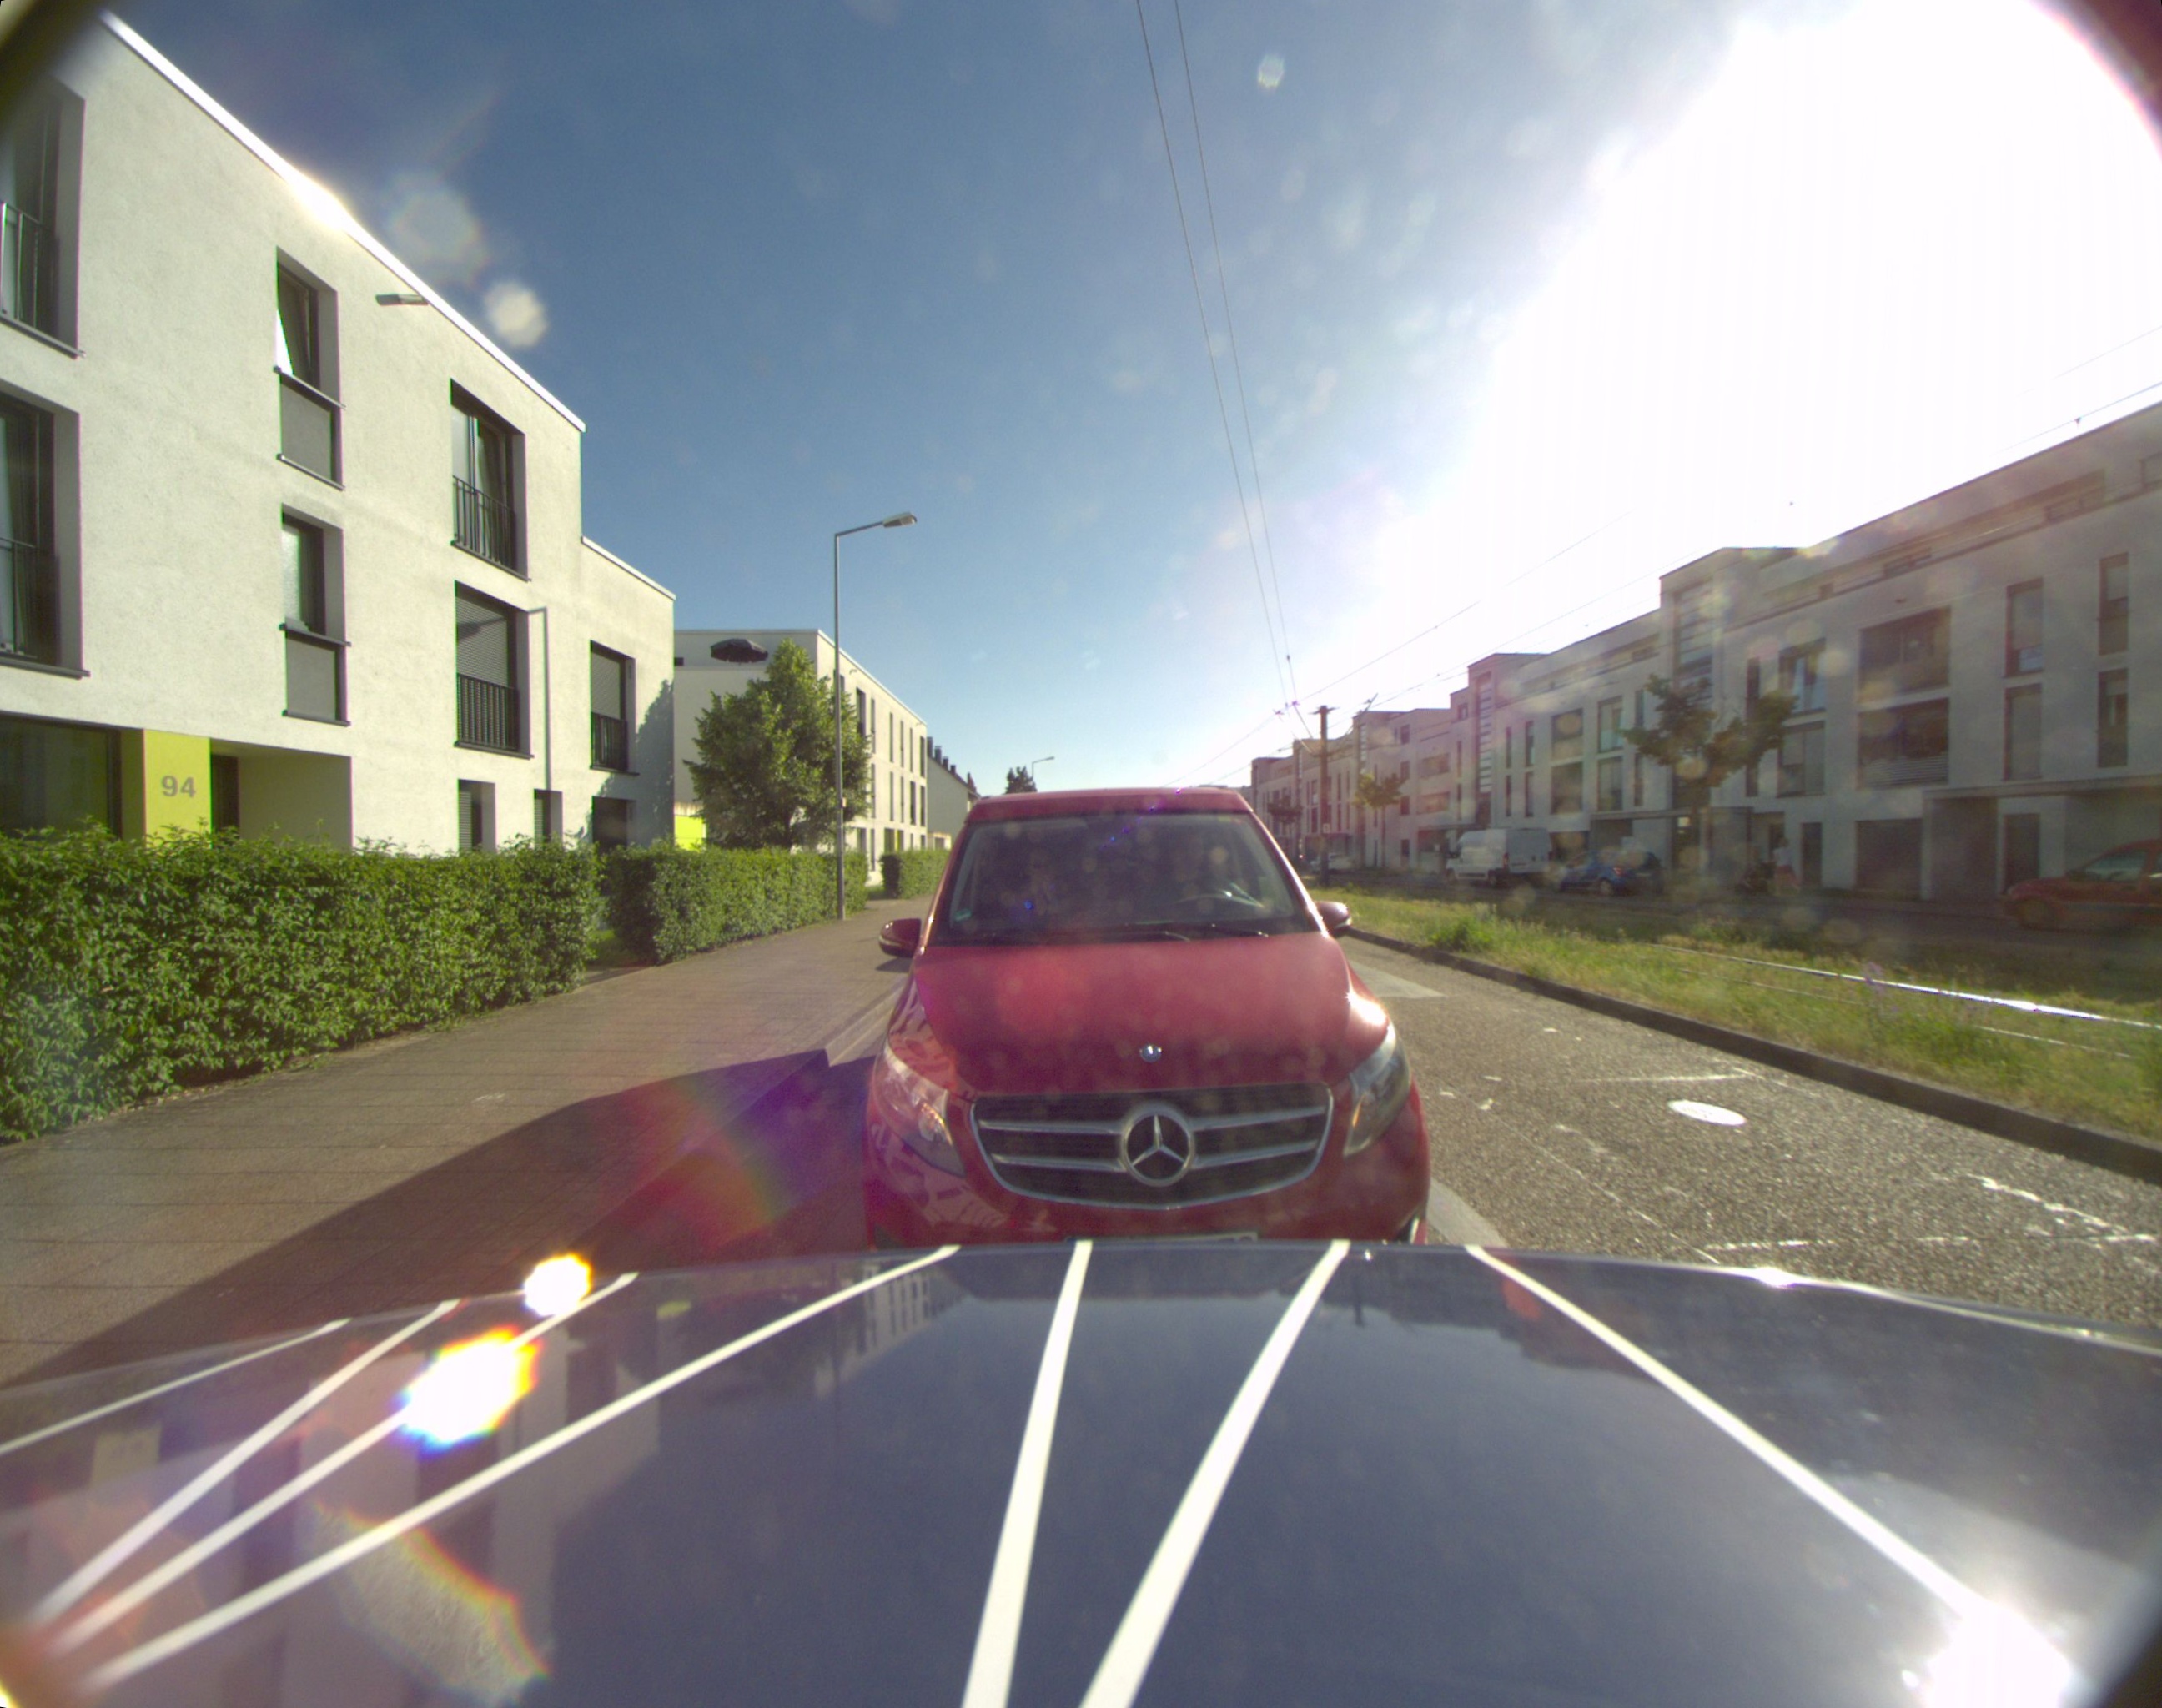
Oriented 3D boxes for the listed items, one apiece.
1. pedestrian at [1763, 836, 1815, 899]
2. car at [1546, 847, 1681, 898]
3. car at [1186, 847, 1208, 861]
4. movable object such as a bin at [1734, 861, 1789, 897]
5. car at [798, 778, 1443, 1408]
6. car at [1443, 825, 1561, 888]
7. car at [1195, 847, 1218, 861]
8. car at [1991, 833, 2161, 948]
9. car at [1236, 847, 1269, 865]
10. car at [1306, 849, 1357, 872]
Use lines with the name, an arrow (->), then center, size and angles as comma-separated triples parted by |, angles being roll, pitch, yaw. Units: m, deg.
pedestrian -> 20.843, 0.385, 22.392 | 0.776, 1.812, 0.785 | -2, 1, 1
car -> 18.378, 0.582, 26.476 | 1.998, 1.536, 3.835 | -2, 1, 0
car -> 15.191, -0.049, 99.634 | 1.923, 1.671, 4.282 | -2, 1, -4
movable object such as a bin -> 20.883, 0.752, 23.342 | 0.729, 1.048, 1.083 | -2, 1, 1
car -> 0.153, 0.705, 4.539 | 1.874, 1.843, 4.506 | -2, 1, 1
car -> 18.170, 0.081, 33.148 | 2.225, 2.458, 5.195 | -2, 1, 0
car -> 15.477, -0.028, 93.883 | 1.923, 1.671, 4.282 | -2, 1, -4
car -> 18.618, 0.584, 12.785 | 1.998, 1.817, 3.895 | -2, 1, 3
car -> 16.721, 0.142, 74.331 | 1.923, 1.671, 4.282 | -2, 1, -4
car -> 17.636, 0.422, 53.717 | 1.923, 1.497, 4.282 | -2, 1, -4
